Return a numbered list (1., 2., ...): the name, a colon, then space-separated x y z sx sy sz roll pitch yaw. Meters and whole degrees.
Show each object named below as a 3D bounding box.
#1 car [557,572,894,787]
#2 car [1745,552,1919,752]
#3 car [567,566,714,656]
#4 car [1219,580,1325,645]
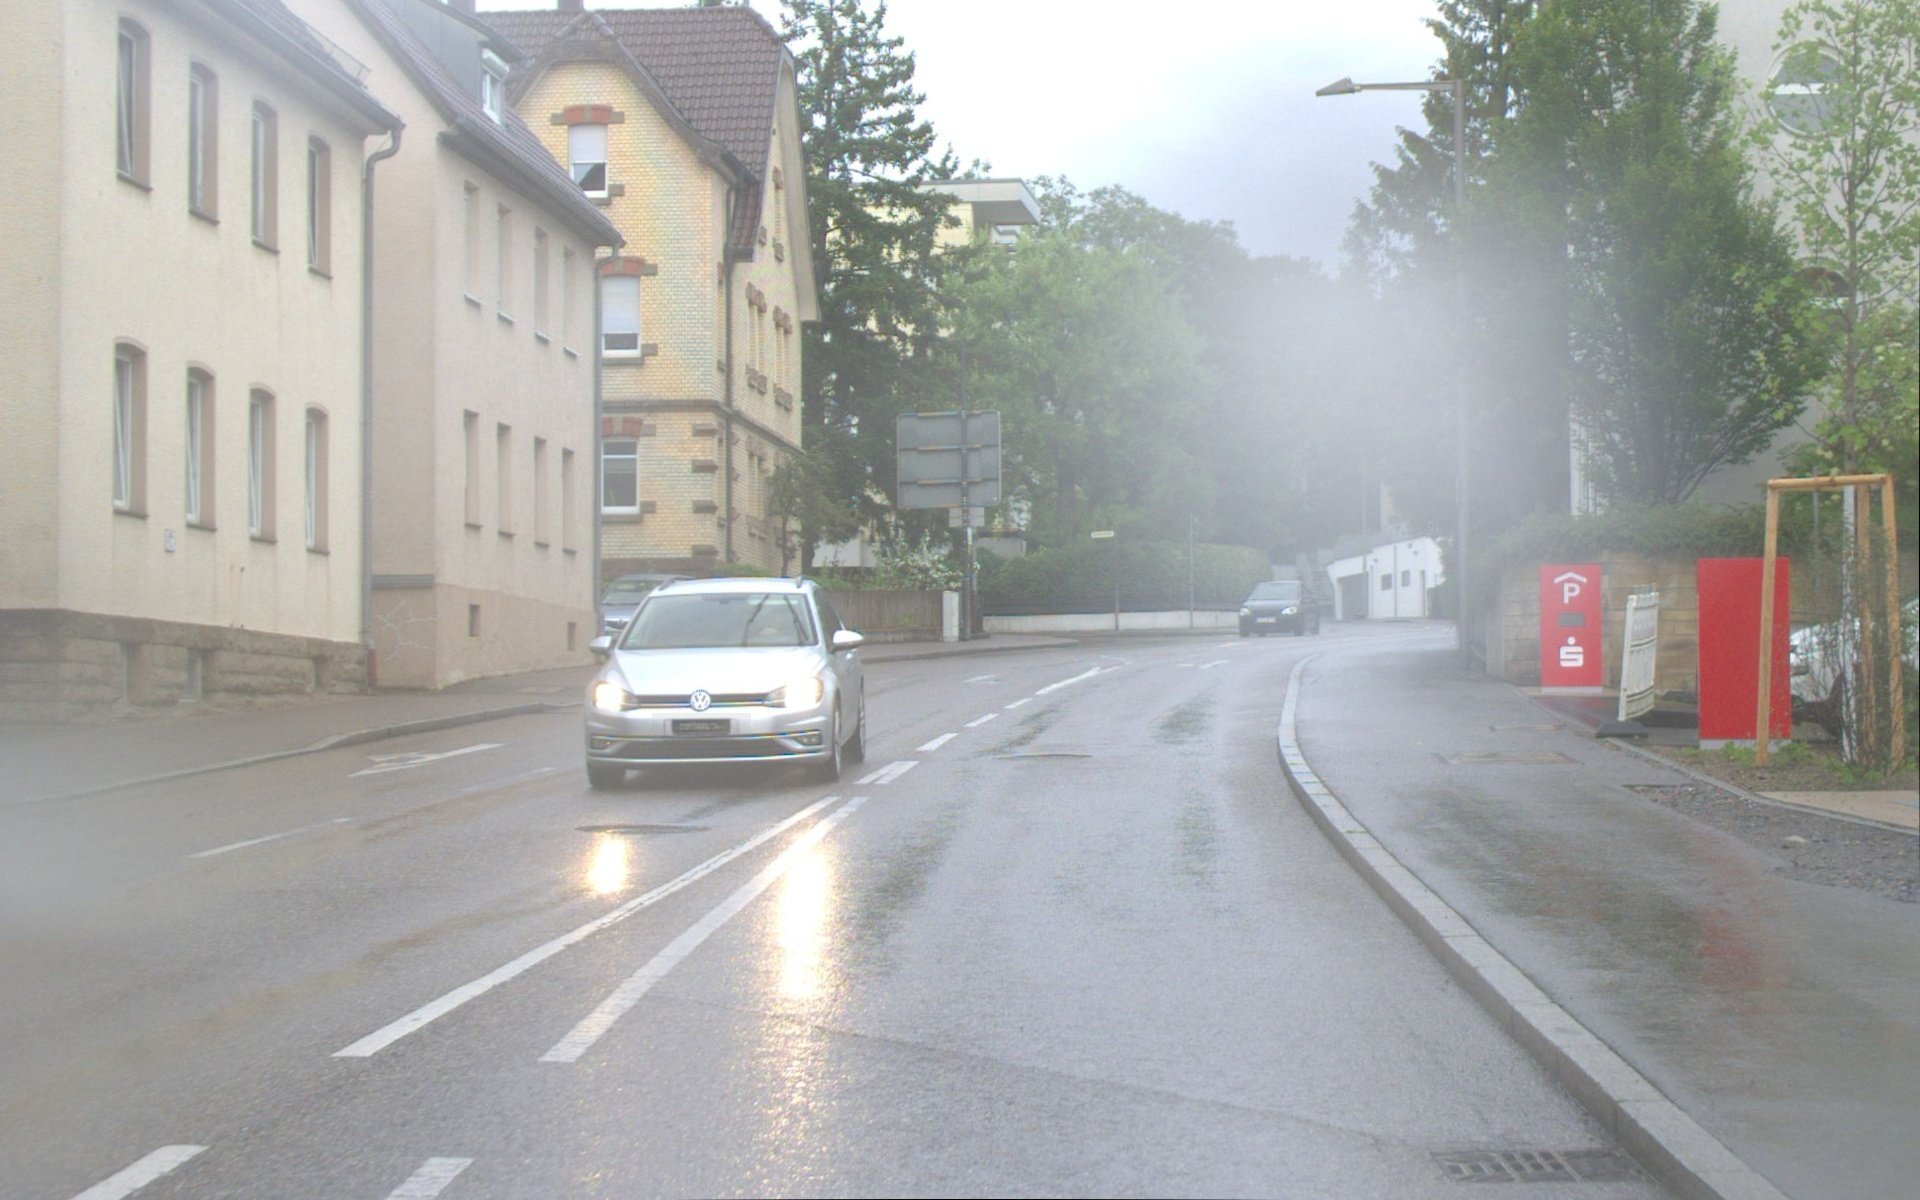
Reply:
1. car: -1.635 0.518 25.604 1.799 1.434 4.688 0 1 5
2. car: 8.109 0.397 26.755 3.667 1.498 1.776 1 1 5
3. car: -5.636 0.163 61.048 1.771 1.498 3.881 1 1 7
4. car: 8.123 0.319 89.366 1.747 1.566 3.809 3 1 20
